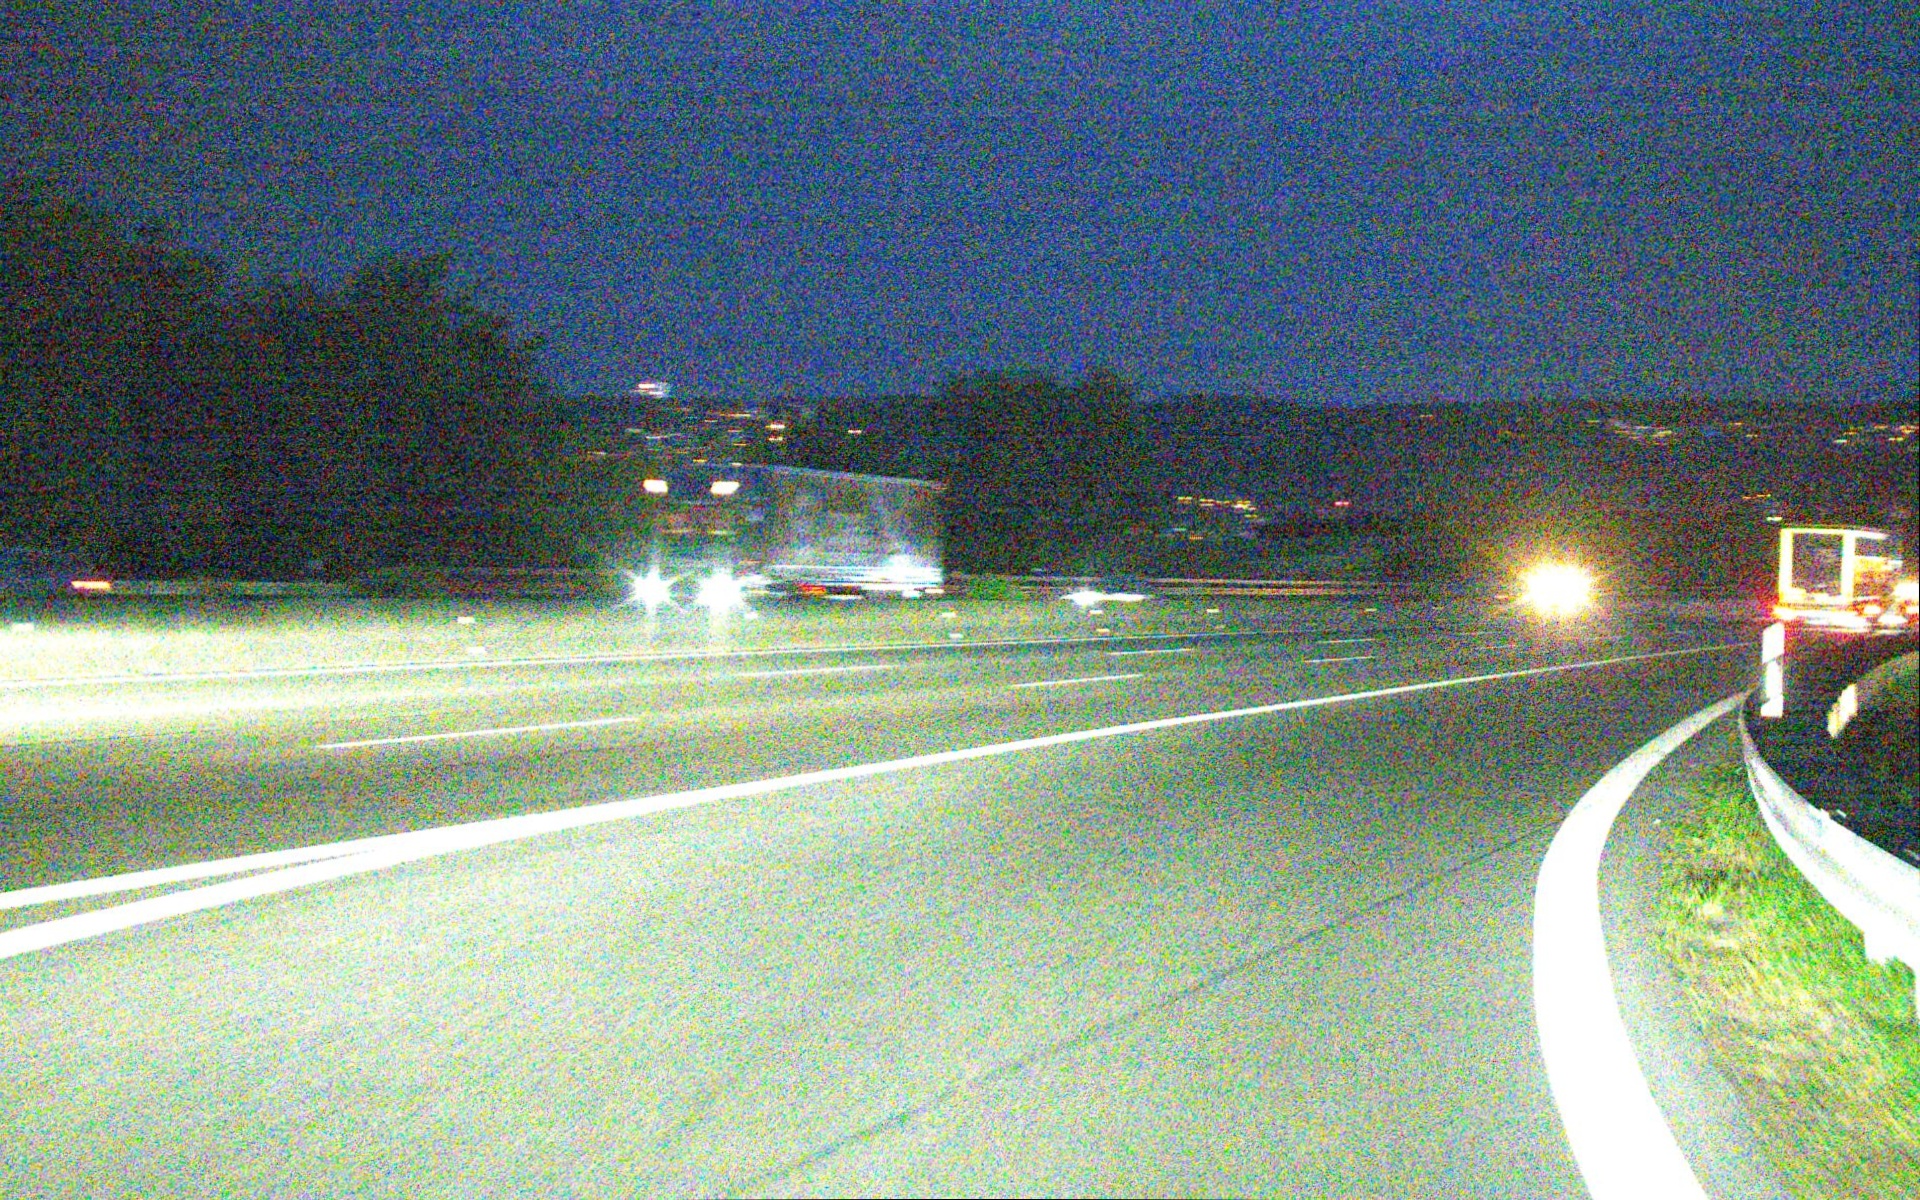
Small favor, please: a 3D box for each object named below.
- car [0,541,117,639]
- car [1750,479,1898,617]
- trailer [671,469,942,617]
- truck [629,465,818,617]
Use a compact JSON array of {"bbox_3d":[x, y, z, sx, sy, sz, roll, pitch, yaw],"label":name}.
[{"bbox_3d":[-14.624,-0.177,51.014,1.995,1.419,4.365,2,1,19],"label":"car"},{"bbox_3d":[34.469,-1.987,137.012,5.285,5.074,12.465,2,0,15],"label":"car"},{"bbox_3d":[-4.076,-1.483,96.473,2.761,3.788,13.747,2,1,18],"label":"trailer"},{"bbox_3d":[-6.137,-1.508,90.183,2.761,3.788,5.957,2,0,18],"label":"truck"}]
